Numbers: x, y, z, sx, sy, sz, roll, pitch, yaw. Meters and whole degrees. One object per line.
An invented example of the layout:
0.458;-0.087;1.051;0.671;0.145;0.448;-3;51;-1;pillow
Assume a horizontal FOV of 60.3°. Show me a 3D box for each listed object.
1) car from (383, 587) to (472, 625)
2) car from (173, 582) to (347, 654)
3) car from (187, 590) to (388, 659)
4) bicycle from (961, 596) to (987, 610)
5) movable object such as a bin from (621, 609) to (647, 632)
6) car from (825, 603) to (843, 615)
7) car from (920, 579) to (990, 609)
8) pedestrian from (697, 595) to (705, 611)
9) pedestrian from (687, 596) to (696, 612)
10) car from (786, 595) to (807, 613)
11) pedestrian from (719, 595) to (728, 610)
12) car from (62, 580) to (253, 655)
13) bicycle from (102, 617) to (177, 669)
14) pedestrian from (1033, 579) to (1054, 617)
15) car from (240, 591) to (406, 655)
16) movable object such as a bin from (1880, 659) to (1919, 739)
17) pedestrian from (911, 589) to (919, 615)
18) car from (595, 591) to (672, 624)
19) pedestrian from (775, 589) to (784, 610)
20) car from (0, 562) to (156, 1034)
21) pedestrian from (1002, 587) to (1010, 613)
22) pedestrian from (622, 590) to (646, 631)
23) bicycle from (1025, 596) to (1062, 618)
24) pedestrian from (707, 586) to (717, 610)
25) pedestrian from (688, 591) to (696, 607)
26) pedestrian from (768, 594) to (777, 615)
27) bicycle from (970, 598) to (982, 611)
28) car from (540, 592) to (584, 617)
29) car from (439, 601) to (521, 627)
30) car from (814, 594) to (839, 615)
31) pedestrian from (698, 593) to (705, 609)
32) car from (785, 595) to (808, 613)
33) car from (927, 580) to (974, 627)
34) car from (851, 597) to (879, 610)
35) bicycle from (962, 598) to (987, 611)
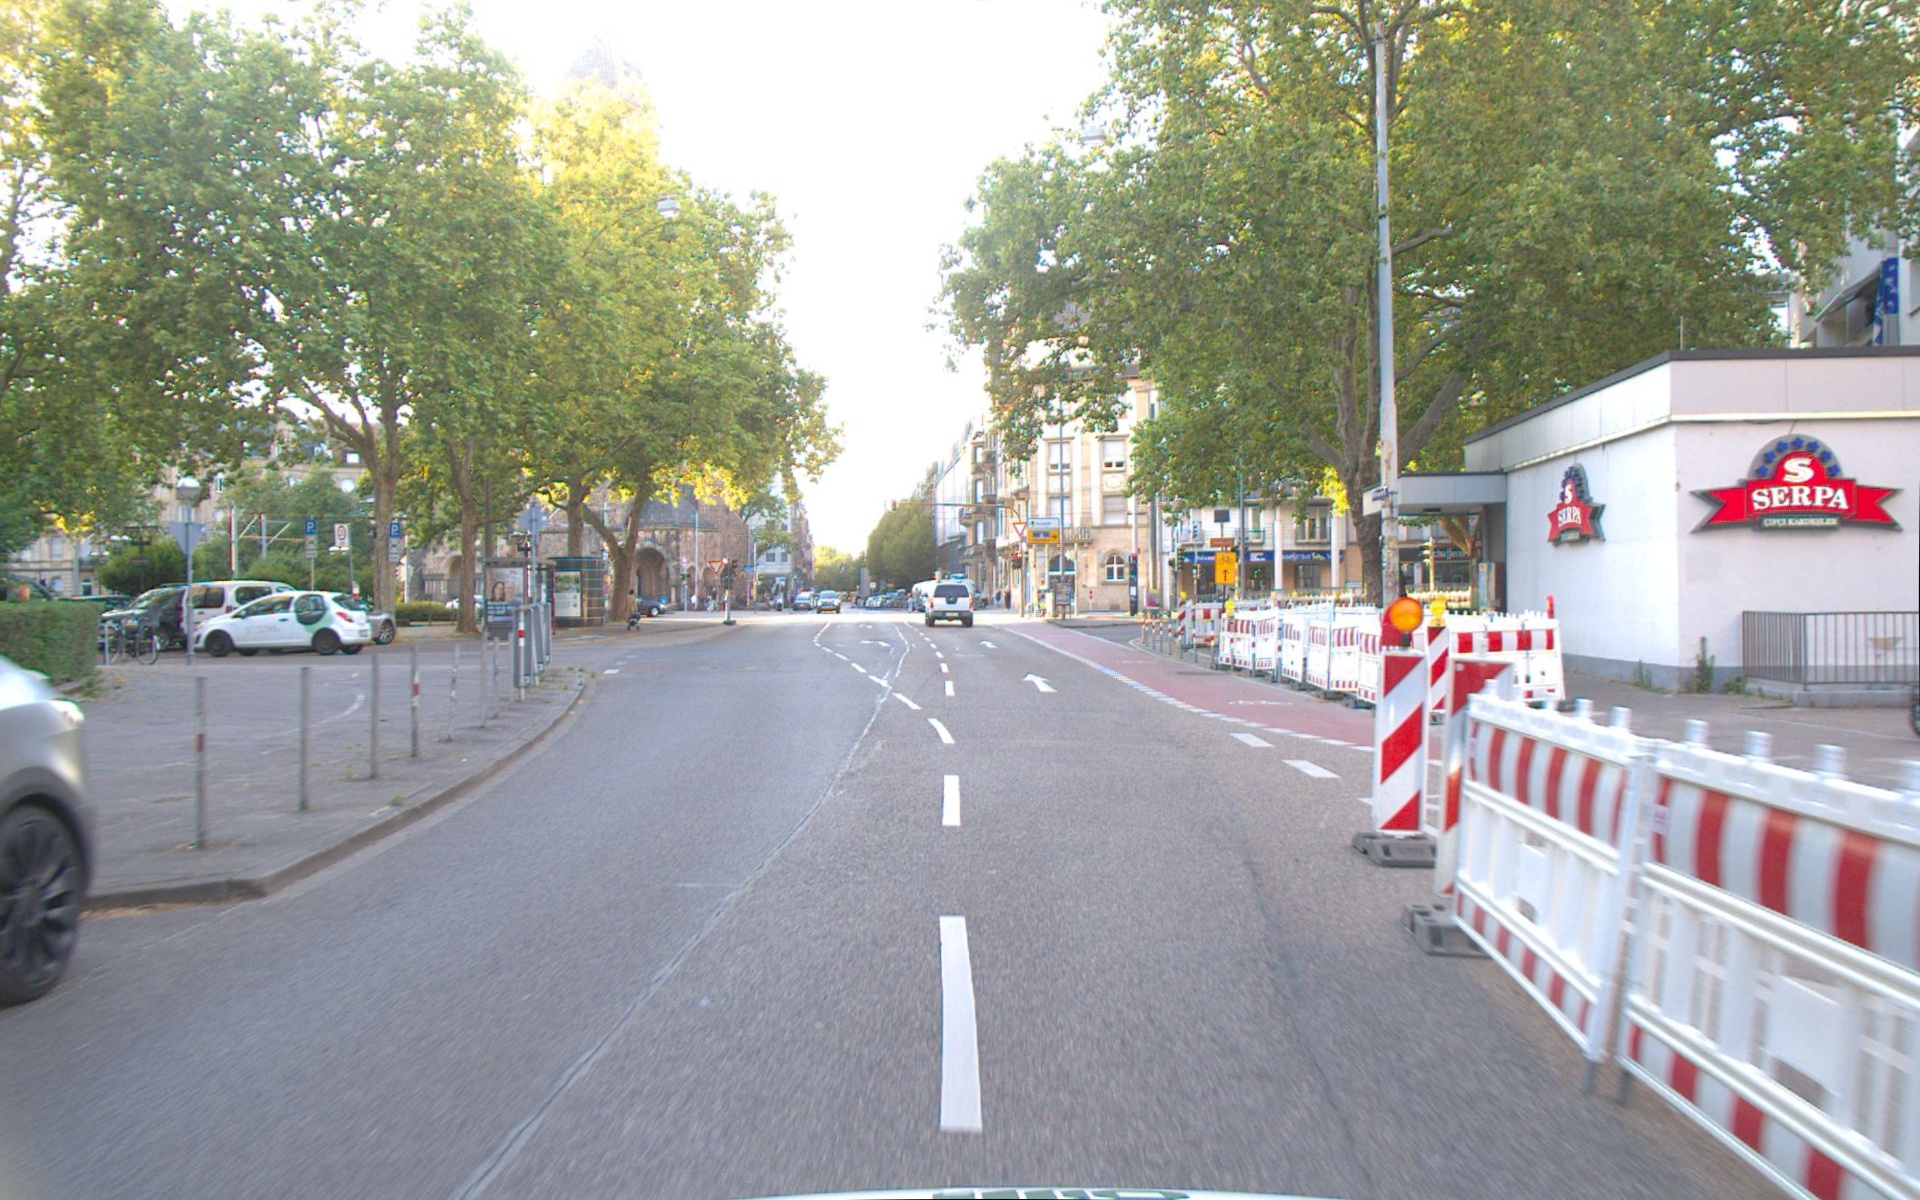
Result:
-28.335;0.293;88.187;2.035;1.873;4.632;0;1;21;car
-19.220;0.443;45.647;1.781;1.831;4.633;-1;1;19;car
-15.764;0.552;38.941;3.907;1.545;1.999;0;0;-2;car
1.056;0.230;124.203;1.876;0.985;0.545;-1;0;-2;bicycle
-13.102;0.816;66.502;0.722;0.906;0.983;-1;0;12;movable object such as a bin
-15.695;1.104;206.441;1.956;1.533;3.814;1;0;-8;car
-0.367;-0.497;130.710;5.777;2.328;2.039;-1;0;-44;car
-21.096;0.262;134.921;0.487;1.309;0.493;-1;0;16;pedestrian
-21.885;0.310;134.642;0.560;1.313;0.487;-1;0;12;pedestrian
-16.281;0.376;164.581;1.956;1.680;3.814;1;0;-8;car
-20.065;0.225;140.345;0.560;1.313;0.487;-1;0;12;pedestrian
-21.855;0.430;45.267;2.034;1.873;4.633;-1;1;19;car
-17.353;0.899;34.983;1.783;1.060;0.479;0;0;28;bicycle
3.922;-0.094;77.868;0.782;1.799;0.718;-1;0;-18;pedestrian
-16.721;0.568;43.677;1.780;1.507;4.635;-1;1;13;car
9.311;0.916;15.424;0.969;0.701;0.943;-1;0;4;movable object such as a bin
-3.315;0.146;121.741;0.581;1.919;0.647;-1;0;2;pedestrian
-19.808;0.435;100.513;4.531;1.873;2.080;-1;1;-10;car
-16.229;-0.067;148.556;0.581;1.919;0.553;-1;0;20;pedestrian
-4.315;0.737;4.568;1.914;1.645;4.604;-3;0;-1;car
3.343;-0.004;119.971;0.581;1.919;0.647;-1;0;2;pedestrian
-13.282;0.421;67.440;0.722;1.657;0.686;-1;0;12;pedestrian
3.916;0.338;77.369;1.659;0.985;0.545;-1;0;-7;bicycle
-19.841;-0.150;132.419;0.581;1.919;0.553;-1;0;25;pedestrian
-21.998;-0.096;135.781;0.560;1.343;0.487;-1;0;12;pedestrian
-16.865;0.423;148.726;0.581;1.919;0.585;-1;0;20;pedestrian
1.218;0.350;126.631;0.532;0.985;1.923;-1;0;14;bicycle
-32.307;0.371;134.307;1.672;1.943;3.494;-1;0;23;car
-29.117;0.838;100.326;4.534;1.557;2.000;0;0;22;car
-10.906;0.332;135.116;1.748;1.680;3.814;1;0;-8;car
-21.177;0.078;135.503;0.491;1.303;0.489;-1;0;-24;pedestrian
-15.516;0.380;156.880;1.956;1.680;3.814;1;0;-8;car
-0.421;0.146;68.231;1.828;1.846;3.999;-2;0;-2;car
-13.697;0.494;237.786;3.910;1.847;1.997;-1;0;-6;car
1.081;0.347;124.483;1.876;0.985;0.545;-1;0;-2;bicycle
